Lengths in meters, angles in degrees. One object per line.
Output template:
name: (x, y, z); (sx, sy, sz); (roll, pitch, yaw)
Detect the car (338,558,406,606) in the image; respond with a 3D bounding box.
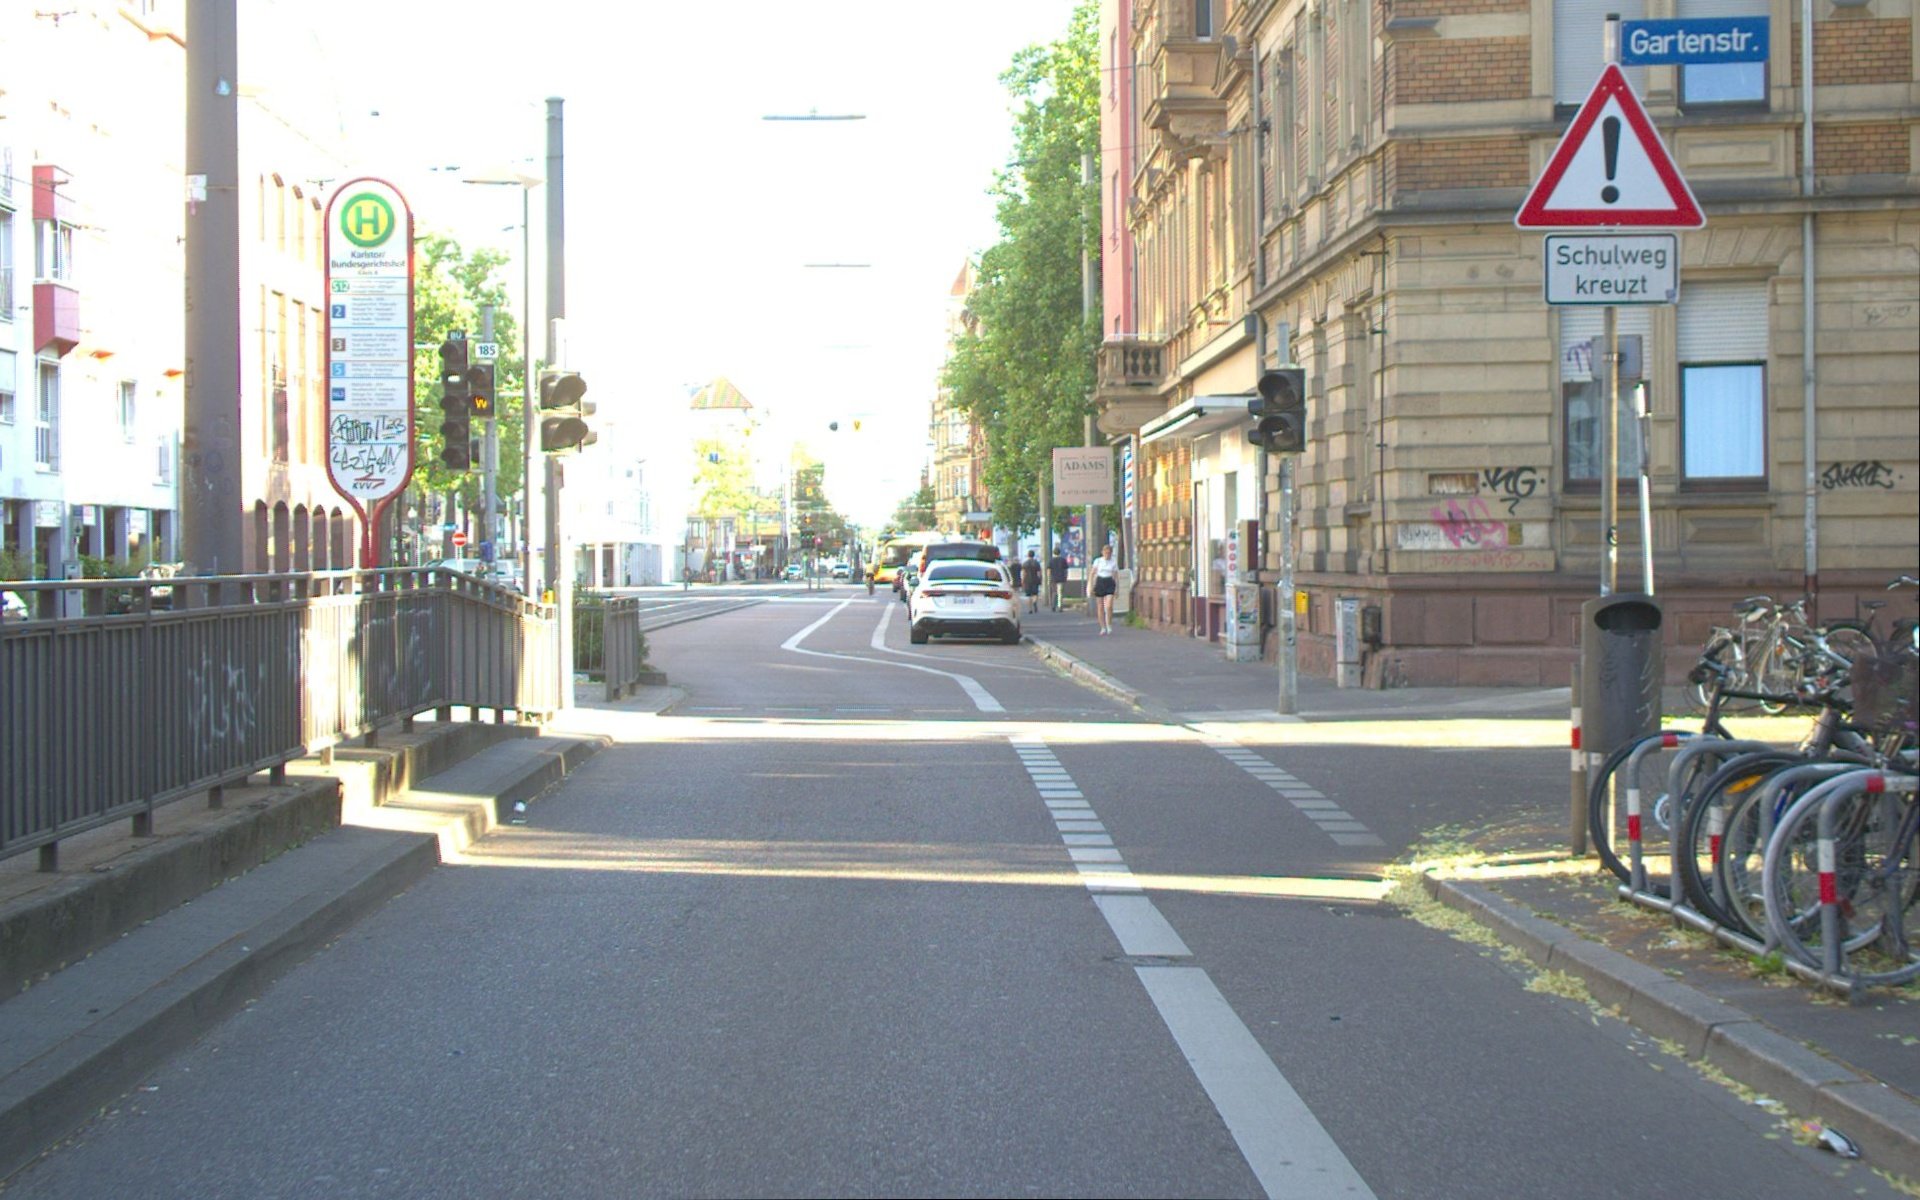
car: (-20.289, -0.638, 118.803); (1.869, 1.594, 4.255); (0, 1, -4)

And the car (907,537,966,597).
car: (-0.815, -1.145, 119.130); (1.971, 2.007, 4.558); (-1, 0, 0)

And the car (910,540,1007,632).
car: (-0.030, -0.314, 73.377); (1.955, 1.862, 4.989); (1, 0, 0)

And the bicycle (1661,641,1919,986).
bicycle: (3.420, 0.696, 11.589); (1.970, 1.101, 0.614); (-1, 1, -4)

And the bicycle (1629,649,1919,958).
bicycle: (3.396, 0.709, 12.319); (1.833, 1.050, 0.718); (0, 1, -4)

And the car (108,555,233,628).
car: (-19.453, -0.178, 84.913); (2.090, 1.707, 4.819); (1, -1, -2)

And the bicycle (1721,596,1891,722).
bicycle: (7.196, 0.487, 29.333); (0.417, 1.021, 1.908); (0, 1, -20)

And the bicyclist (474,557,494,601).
bicyclist: (-18.646, -0.806, 134.698); (0.571, 1.706, 0.746); (-2, 0, -19)

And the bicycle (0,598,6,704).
bicycle: (-10.636, 0.483, 34.555); (1.893, 1.074, 0.584); (2, 0, 0)

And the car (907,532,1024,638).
car: (0.082, -0.270, 61.327); (1.966, 1.765, 4.875); (1, 0, 0)

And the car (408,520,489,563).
car: (-26.199, -2.990, 176.228); (3.869, 1.623, 1.874); (-3, -13, -1)

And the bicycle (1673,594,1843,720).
bicycle: (6.786, 0.470, 29.329); (0.451, 1.021, 1.908); (0, 1, -20)

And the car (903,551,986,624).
car: (-0.432, -0.333, 89.483); (1.949, 1.782, 5.182); (1, 0, -2)

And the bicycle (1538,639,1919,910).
bicycle: (3.341, 0.694, 13.993); (1.833, 1.050, 0.710); (0, 1, -4)

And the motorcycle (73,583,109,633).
motorcycle: (-20.996, 0.193, 83.034); (0.669, 1.201, 2.141); (1, -1, -18)

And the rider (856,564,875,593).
rider: (-4.797, -1.094, 174.152); (0.883, 1.476, 0.713); (2, 0, 0)

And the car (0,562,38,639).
car: (-19.084, -0.011, 65.781); (1.869, 1.434, 4.708); (1, 0, -4)

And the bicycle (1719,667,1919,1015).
bicycle: (3.453, 0.745, 10.933); (1.913, 1.044, 0.681); (0, 1, -4)

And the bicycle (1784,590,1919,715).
bicycle: (7.908, 0.439, 29.518); (0.462, 1.036, 1.908); (0, 1, -29)

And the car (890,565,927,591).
car: (-2.968, -1.268, 197.459); (2.065, 1.384, 4.225); (2, 0, -1)

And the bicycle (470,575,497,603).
bicycle: (-18.686, -0.420, 134.814); (0.582, 1.074, 2.186); (-2, 0, -20)

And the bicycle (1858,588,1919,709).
bicycle: (8.478, 0.420, 29.430); (0.495, 1.021, 1.908); (0, 1, -22)

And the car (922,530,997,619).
car: (0.002, -0.607, 84.016); (1.705, 2.112, 3.706); (1, 0, 2)

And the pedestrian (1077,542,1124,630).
pedestrian: (2.579, -0.259, 63.139); (0.776, 1.561, 0.913); (-3, 0, 2)

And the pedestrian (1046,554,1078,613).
pedestrian: (2.807, -0.449, 94.601); (0.776, 1.561, 0.914); (-3, 0, 0)

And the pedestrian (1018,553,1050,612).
pedestrian: (2.027, -0.481, 94.679); (0.776, 1.561, 0.914); (-3, 0, 0)
